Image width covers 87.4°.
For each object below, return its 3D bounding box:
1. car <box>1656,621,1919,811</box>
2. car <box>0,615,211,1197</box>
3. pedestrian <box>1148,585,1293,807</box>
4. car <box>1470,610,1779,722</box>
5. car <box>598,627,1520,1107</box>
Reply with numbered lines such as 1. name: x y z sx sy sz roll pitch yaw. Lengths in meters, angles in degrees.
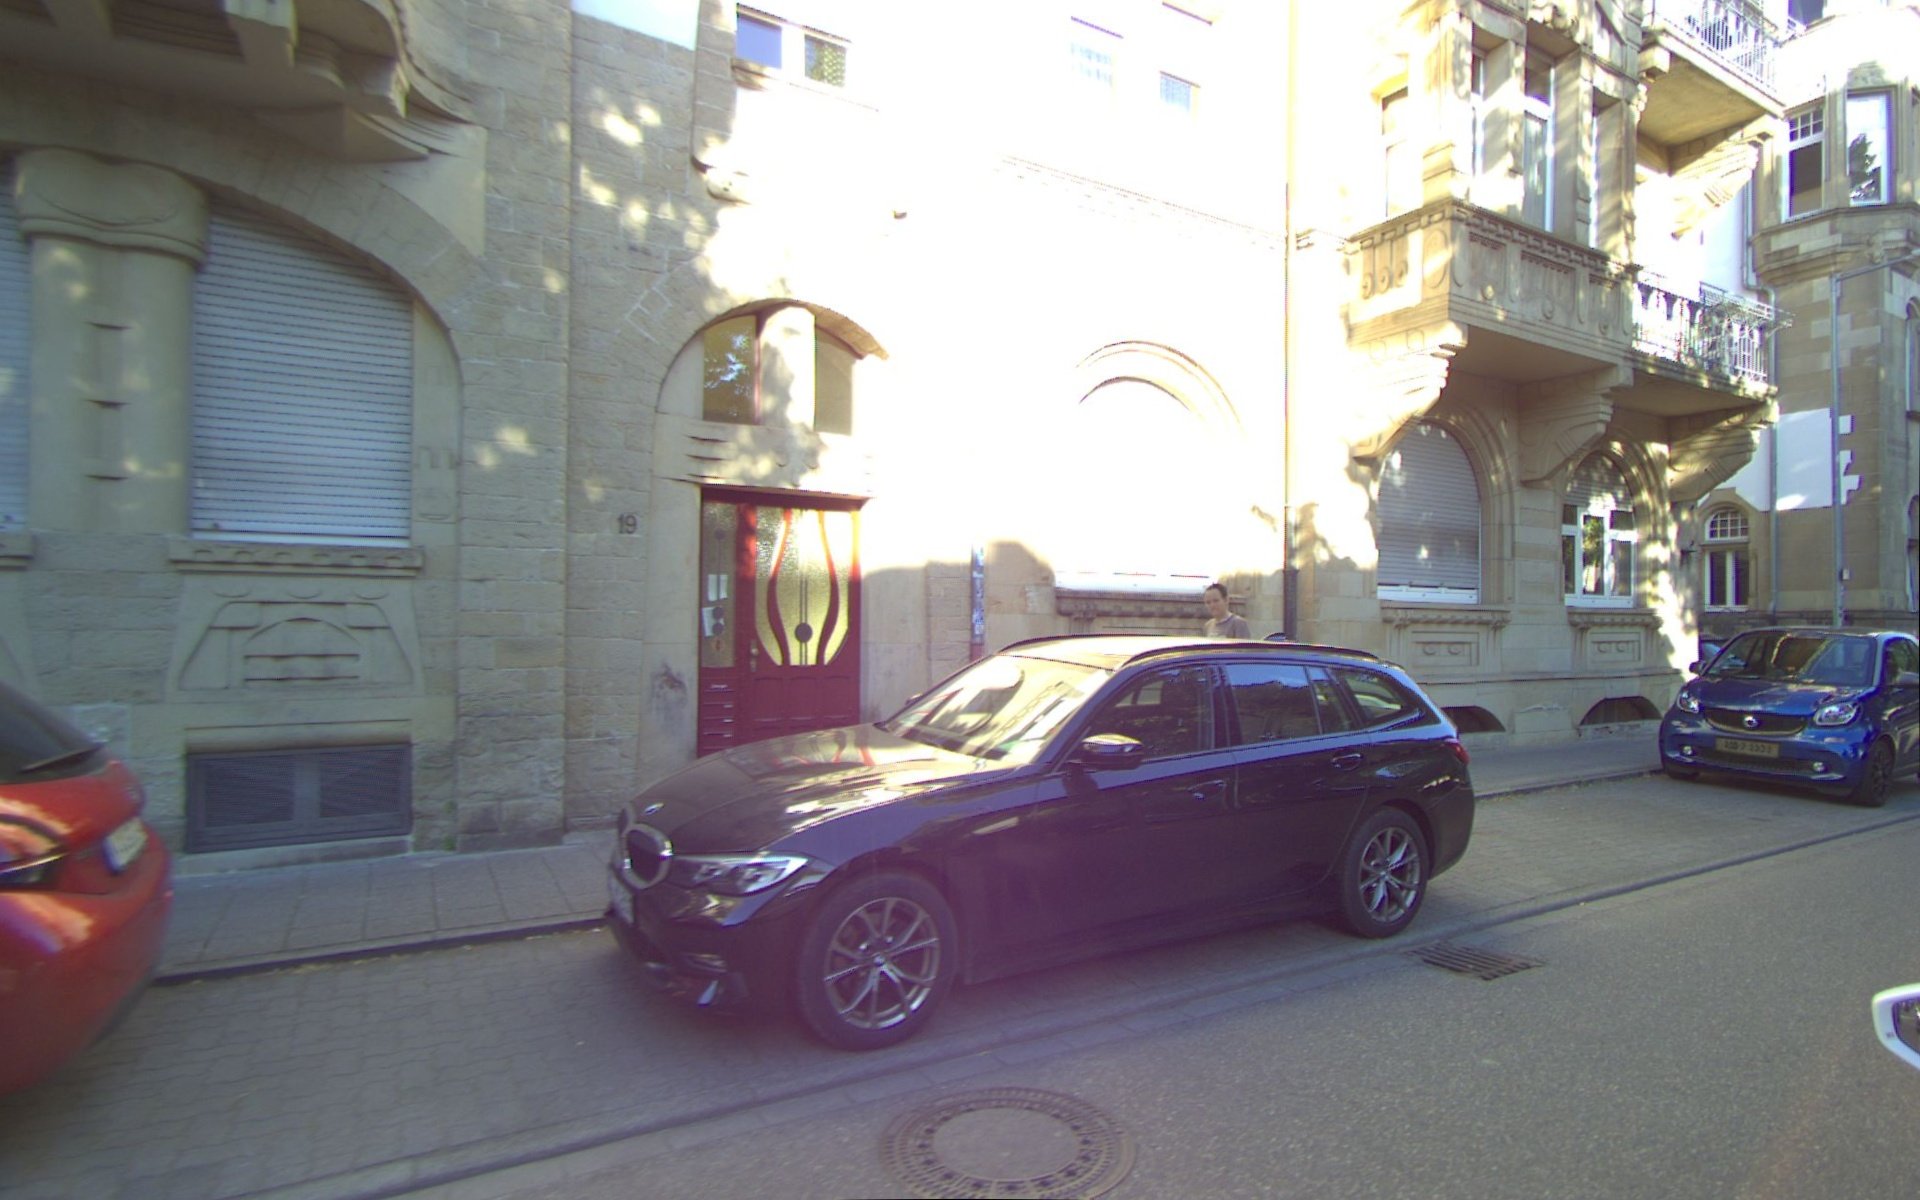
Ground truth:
1. car: 8.398 1.013 9.867 2.706 1.509 1.587 1 2 -32
2. car: -4.237 0.776 2.391 3.796 1.472 1.619 1 0 -33
3. pedestrian: 2.209 0.775 8.574 0.726 1.765 0.934 2 0 -30
4. car: 11.323 1.037 17.427 1.699 1.690 4.178 1 -1 -31
5. car: 0.677 0.903 5.056 4.496 1.449 1.667 1 1 -30
